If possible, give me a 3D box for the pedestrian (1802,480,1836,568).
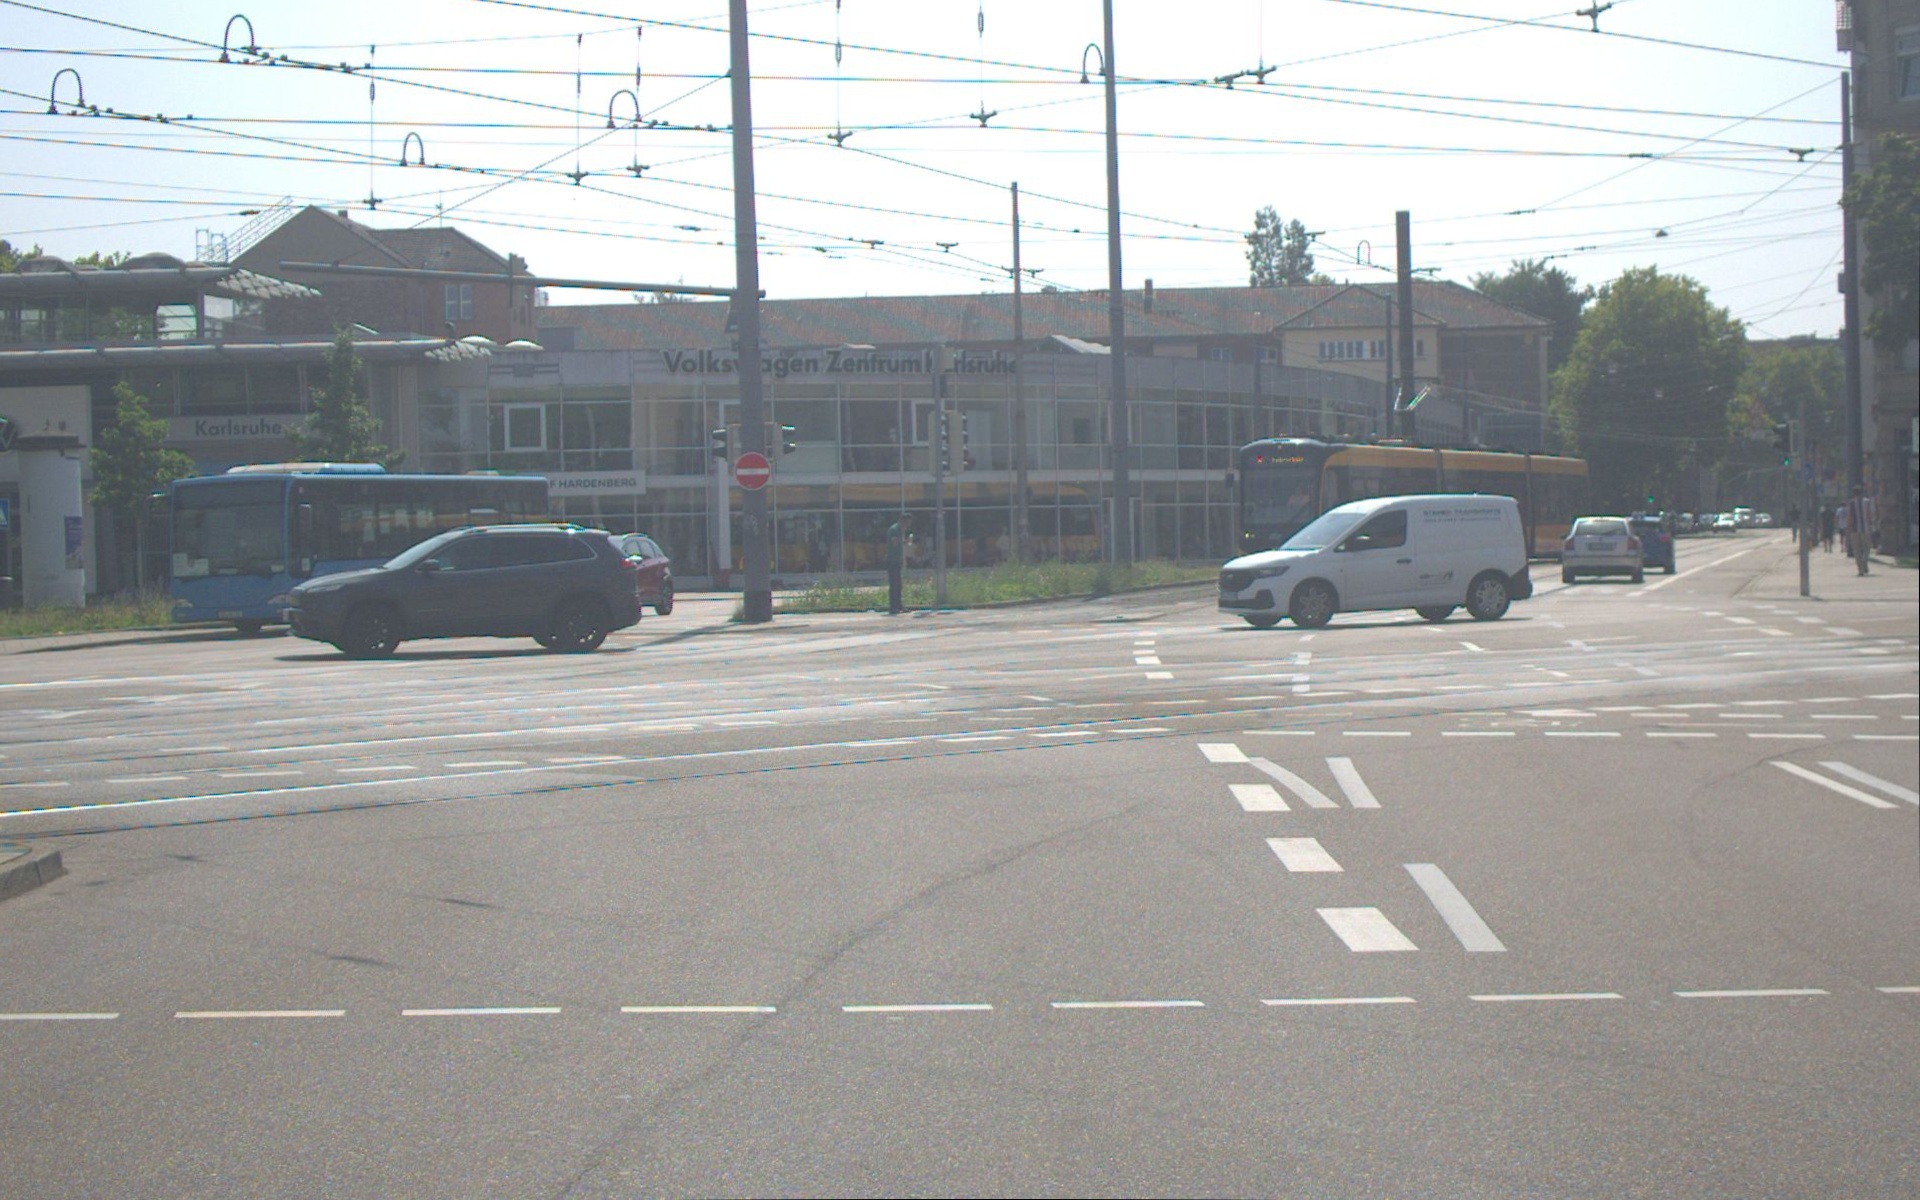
[{"bbox_3d":[29.691,-2.624,118.856,0.983,3.007,0.974,-1,1,6],"label":"pedestrian"}]

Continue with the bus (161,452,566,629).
[{"bbox_3d":[-11.249,-1.186,66.617,2.564,3.072,12.014,-1,1,17],"label":"bus"}]

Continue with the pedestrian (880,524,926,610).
[{"bbox_3d":[-0.975,-0.568,58.725,0.676,1.438,0.366,-1,1,-17],"label":"pedestrian"}]

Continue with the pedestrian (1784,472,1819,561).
[{"bbox_3d":[28.582,-2.828,116.724,0.983,3.007,0.974,-1,1,6],"label":"pedestrian"}]

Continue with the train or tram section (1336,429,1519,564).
[{"bbox_3d":[13.055,-2.849,95.191,2.591,3.504,9.648,-1,1,23],"label":"train or tram section"}]

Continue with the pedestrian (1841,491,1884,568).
[{"bbox_3d":[18.879,-1.474,71.925,0.699,1.597,0.573,-1,1,-8],"label":"pedestrian"}]

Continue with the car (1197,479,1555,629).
[{"bbox_3d":[5.912,-0.674,48.928,4.609,2.007,2.001,-1,1,-18],"label":"car"}]

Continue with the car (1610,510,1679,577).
[{"bbox_3d":[17.284,-1.443,86.746,1.637,1.612,3.998,-1,1,12],"label":"car"}]

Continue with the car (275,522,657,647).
[{"bbox_3d":[-6.488,-0.228,45.090,4.609,1.499,2.001,-1,1,-20],"label":"car"}]

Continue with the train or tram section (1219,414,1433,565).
[{"bbox_3d":[9.270,-2.711,85.721,2.591,3.504,10.887,-1,1,21],"label":"train or tram section"}]

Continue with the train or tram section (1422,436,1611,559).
[{"bbox_3d":[17.253,-3.112,105.638,2.591,3.504,12.957,-1,1,23],"label":"train or tram section"}]

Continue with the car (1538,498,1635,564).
[{"bbox_3d":[13.906,-1.545,76.495,1.770,1.411,4.188,-1,1,6],"label":"car"}]
